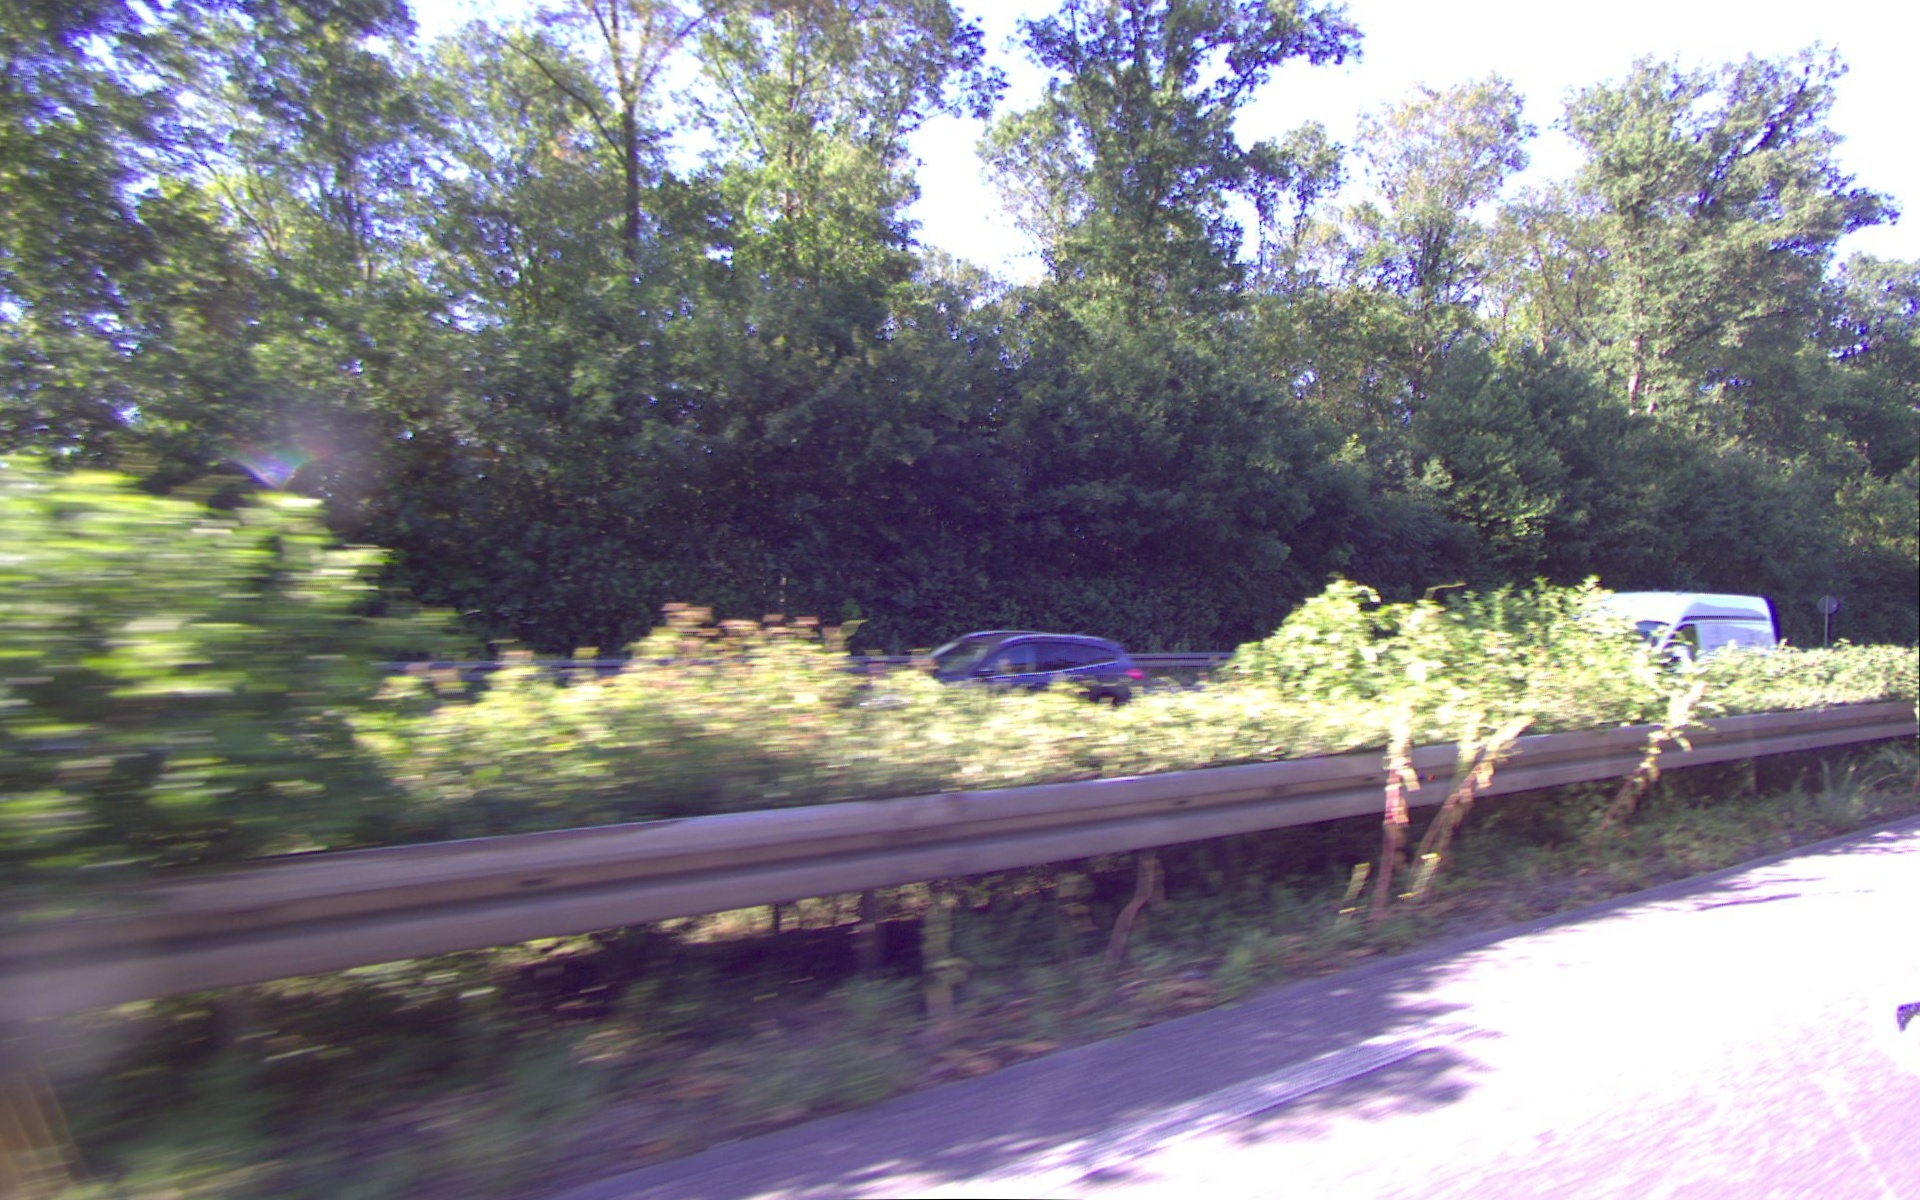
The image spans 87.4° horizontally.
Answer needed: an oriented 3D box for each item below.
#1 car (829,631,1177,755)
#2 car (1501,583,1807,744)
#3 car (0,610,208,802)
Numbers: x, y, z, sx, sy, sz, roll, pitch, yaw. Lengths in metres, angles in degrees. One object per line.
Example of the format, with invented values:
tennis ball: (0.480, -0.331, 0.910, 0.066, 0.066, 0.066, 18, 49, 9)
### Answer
car: (0.693, 1.208, 14.133, 4.725, 1.443, 1.752, 2, 0, -32)
car: (11.554, 0.970, 16.591, 5.717, 2.282, 1.905, 2, 0, -30)
car: (-9.672, 0.919, 9.098, 4.458, 1.648, 1.885, 2, 0, -35)
